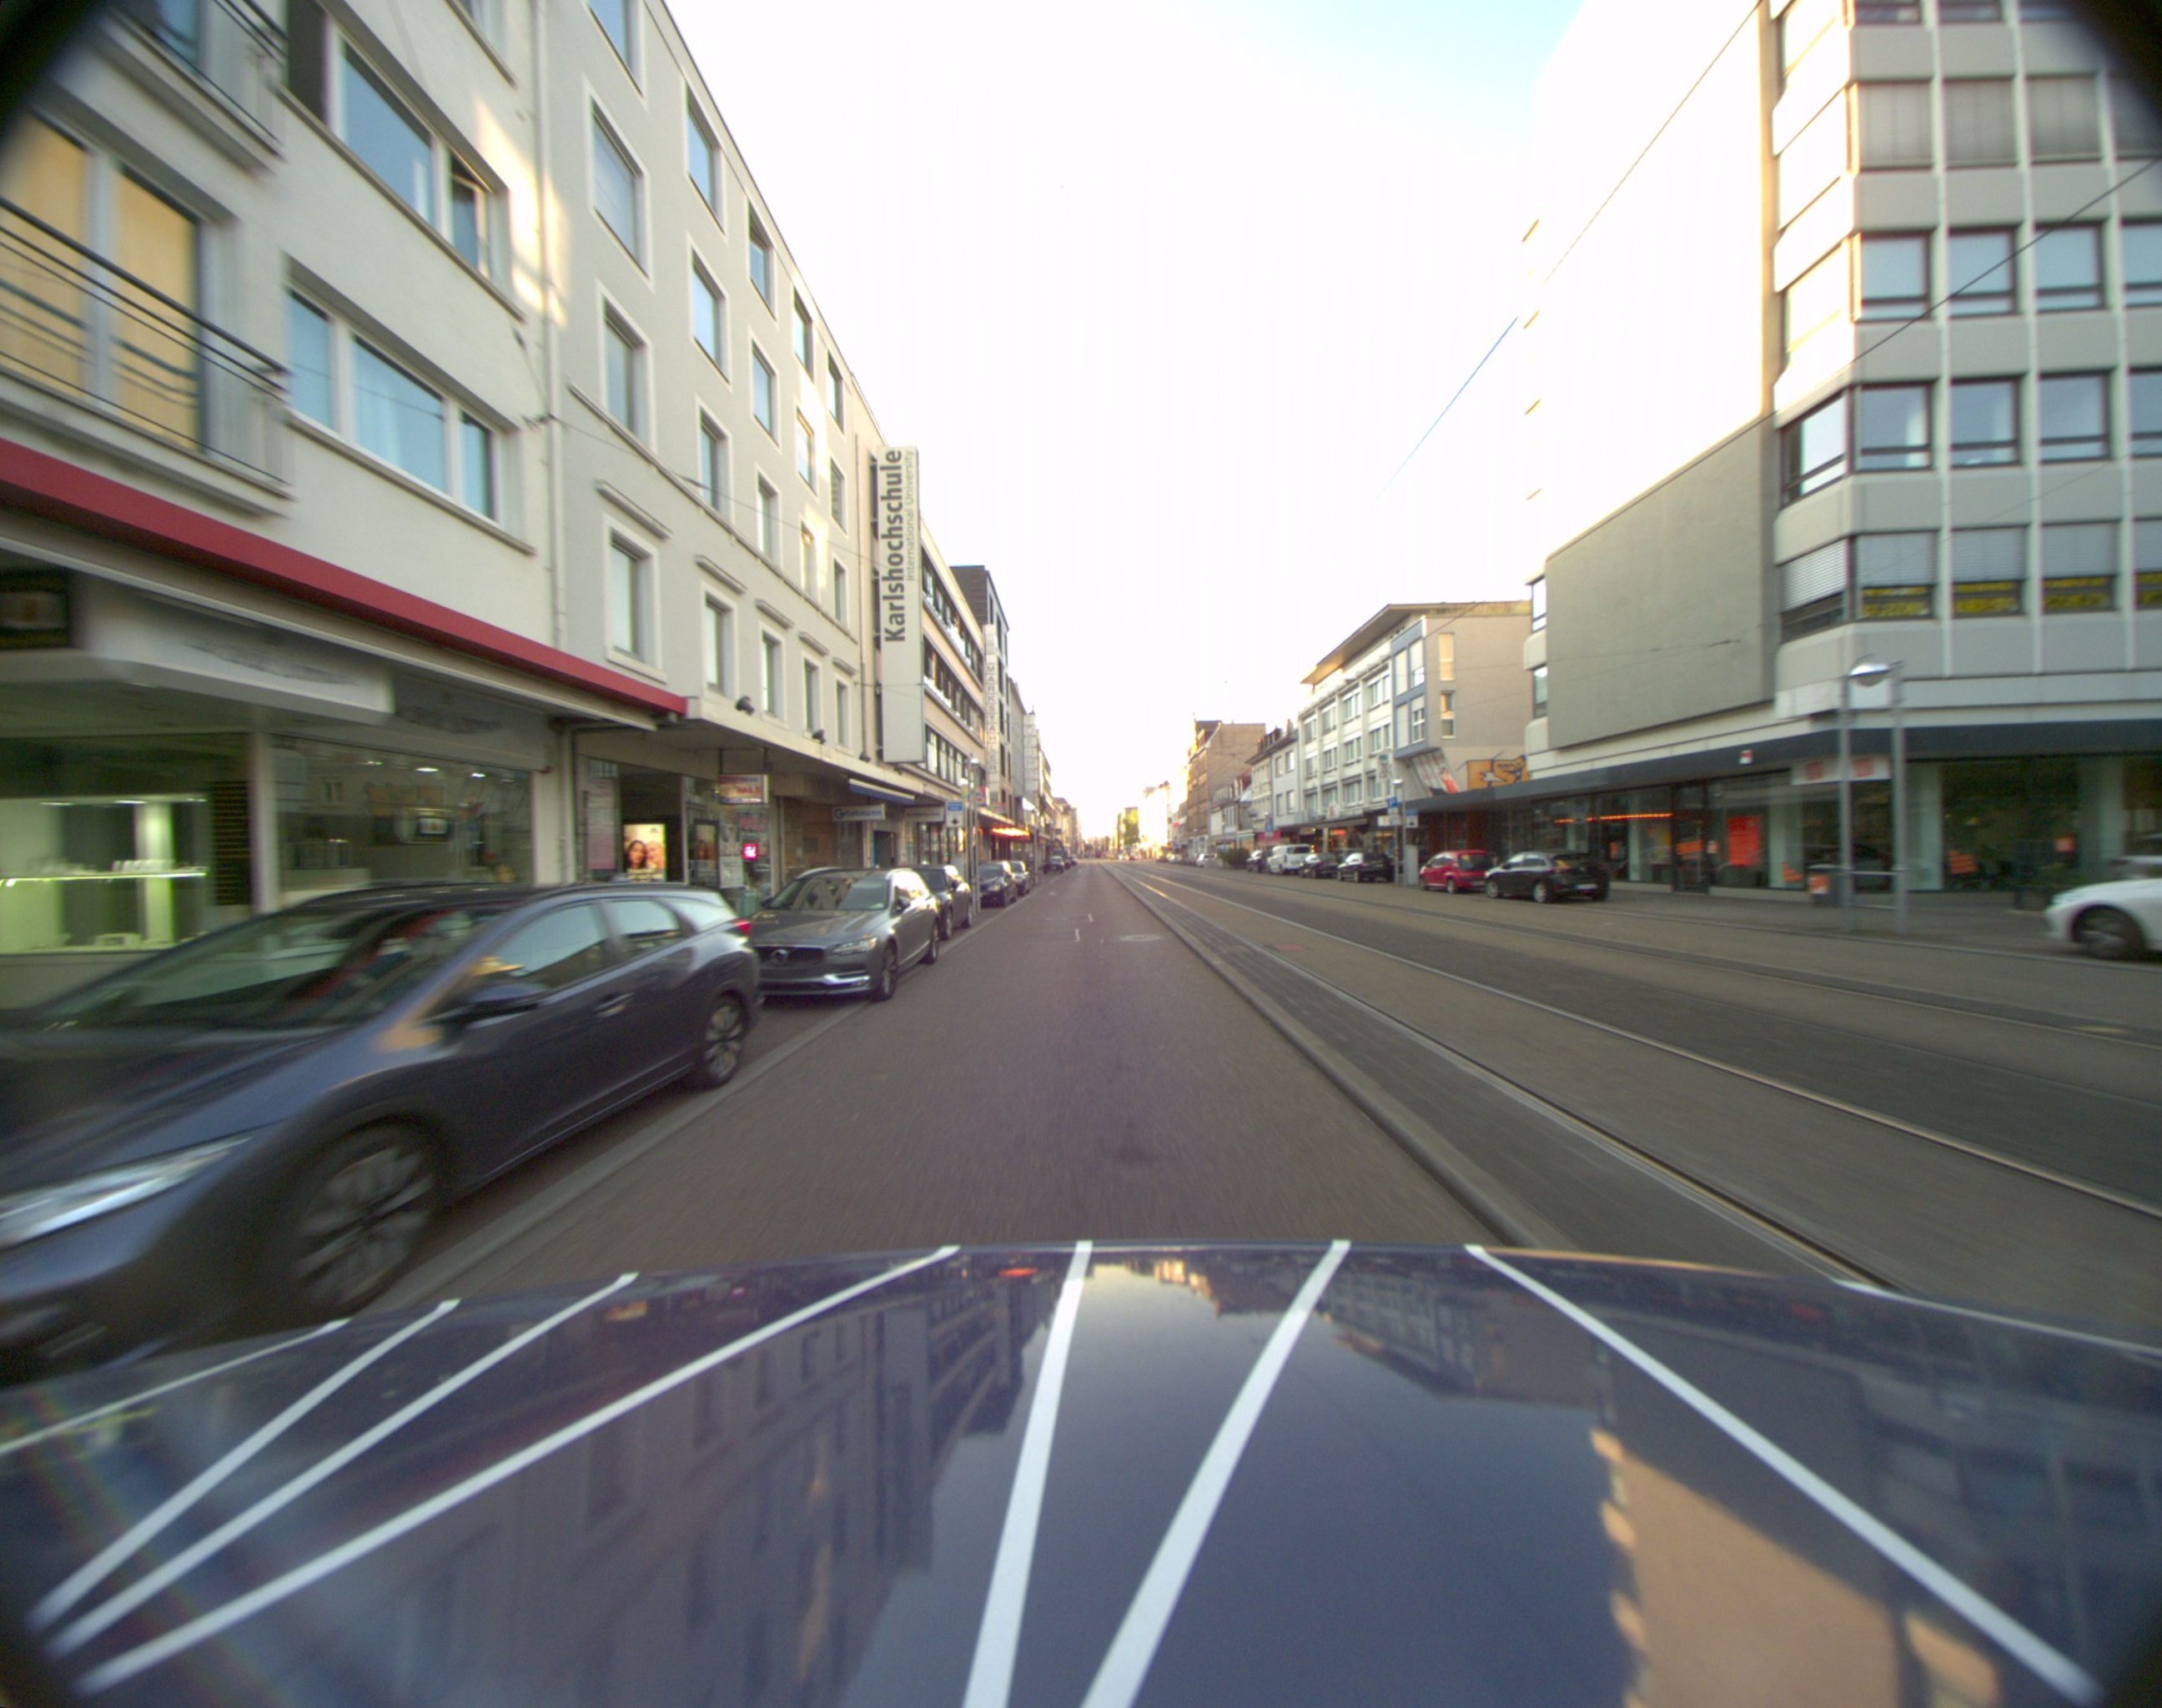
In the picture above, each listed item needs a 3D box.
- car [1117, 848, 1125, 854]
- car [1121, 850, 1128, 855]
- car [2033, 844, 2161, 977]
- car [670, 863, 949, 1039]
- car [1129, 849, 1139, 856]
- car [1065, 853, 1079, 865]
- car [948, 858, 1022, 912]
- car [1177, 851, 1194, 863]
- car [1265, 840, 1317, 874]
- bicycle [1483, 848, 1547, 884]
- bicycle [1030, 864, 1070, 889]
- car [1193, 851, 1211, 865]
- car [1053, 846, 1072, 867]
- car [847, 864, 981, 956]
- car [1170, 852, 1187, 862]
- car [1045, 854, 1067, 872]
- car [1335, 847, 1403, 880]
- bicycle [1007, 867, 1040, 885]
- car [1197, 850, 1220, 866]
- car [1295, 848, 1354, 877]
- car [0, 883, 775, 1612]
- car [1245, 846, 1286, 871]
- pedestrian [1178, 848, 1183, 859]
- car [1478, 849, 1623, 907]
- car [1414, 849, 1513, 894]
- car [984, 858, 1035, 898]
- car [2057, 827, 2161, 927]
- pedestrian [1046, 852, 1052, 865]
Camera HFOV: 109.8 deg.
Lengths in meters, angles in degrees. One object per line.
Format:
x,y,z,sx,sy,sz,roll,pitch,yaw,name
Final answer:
12.639,-0.891,240.432,1.998,1.830,3.999,-3,1,0,car
12.826,-0.452,224.259,1.998,1.434,3.999,-3,1,0,car
13.218,0.639,7.712,1.725,1.444,4.283,-3,0,0,car
-3.080,0.977,9.869,1.796,1.524,4.856,-3,1,0,car
12.619,-0.451,180.324,1.998,1.554,3.999,-3,1,0,car
-1.405,0.777,121.703,1.998,1.663,3.876,-3,1,0,car
-3.093,0.958,25.230,1.769,1.505,4.071,-3,1,1,car
14.559,0.357,106.021,1.846,1.484,3.816,-3,1,1,car
13.909,0.172,50.651,1.969,2.002,5.099,-3,1,0,car
17.577,0.466,30.828,2.051,1.332,0.875,-3,1,1,bicycle
-1.477,1.070,36.089,1.844,1.103,0.642,-1,1,-2,bicycle
14.356,0.462,90.387,1.659,1.561,3.470,-3,1,1,car
-2.152,0.272,92.265,2.080,2.434,5.604,-3,0,0,car
-3.249,1.030,15.584,1.730,1.473,4.000,-3,1,1,car
15.122,0.457,118.050,1.999,1.412,4.403,-3,1,-1,car
-2.277,0.802,70.033,1.744,1.532,3.965,-1,1,1,car
13.670,0.427,36.334,1.794,1.452,4.091,-1,0,2,car
-3.139,1.217,41.660,1.799,0.967,0.575,1,1,-2,bicycle
14.274,0.435,85.321,1.896,1.547,4.622,-3,1,1,car
13.754,0.441,43.123,1.876,1.418,4.570,-3,1,1,car
-3.366,1.030,3.754,1.785,1.513,4.357,-3,0,1,car
14.131,0.305,58.433,1.998,1.687,4.588,-3,1,1,car
17.636,-0.098,134.959,0.748,2.002,1.049,-3,2,5,pedestrian
13.251,0.628,21.754,1.696,1.417,3.965,-4,0,1,car
13.347,0.562,26.767,1.696,1.426,3.592,-2,0,1,car
-2.971,0.970,32.233,1.658,1.454,4.022,-3,1,1,car
19.350,0.287,12.571,3.997,1.544,1.914,-3,1,-1,car
-4.390,0.605,105.117,0.743,1.746,0.789,1,1,-3,pedestrian
